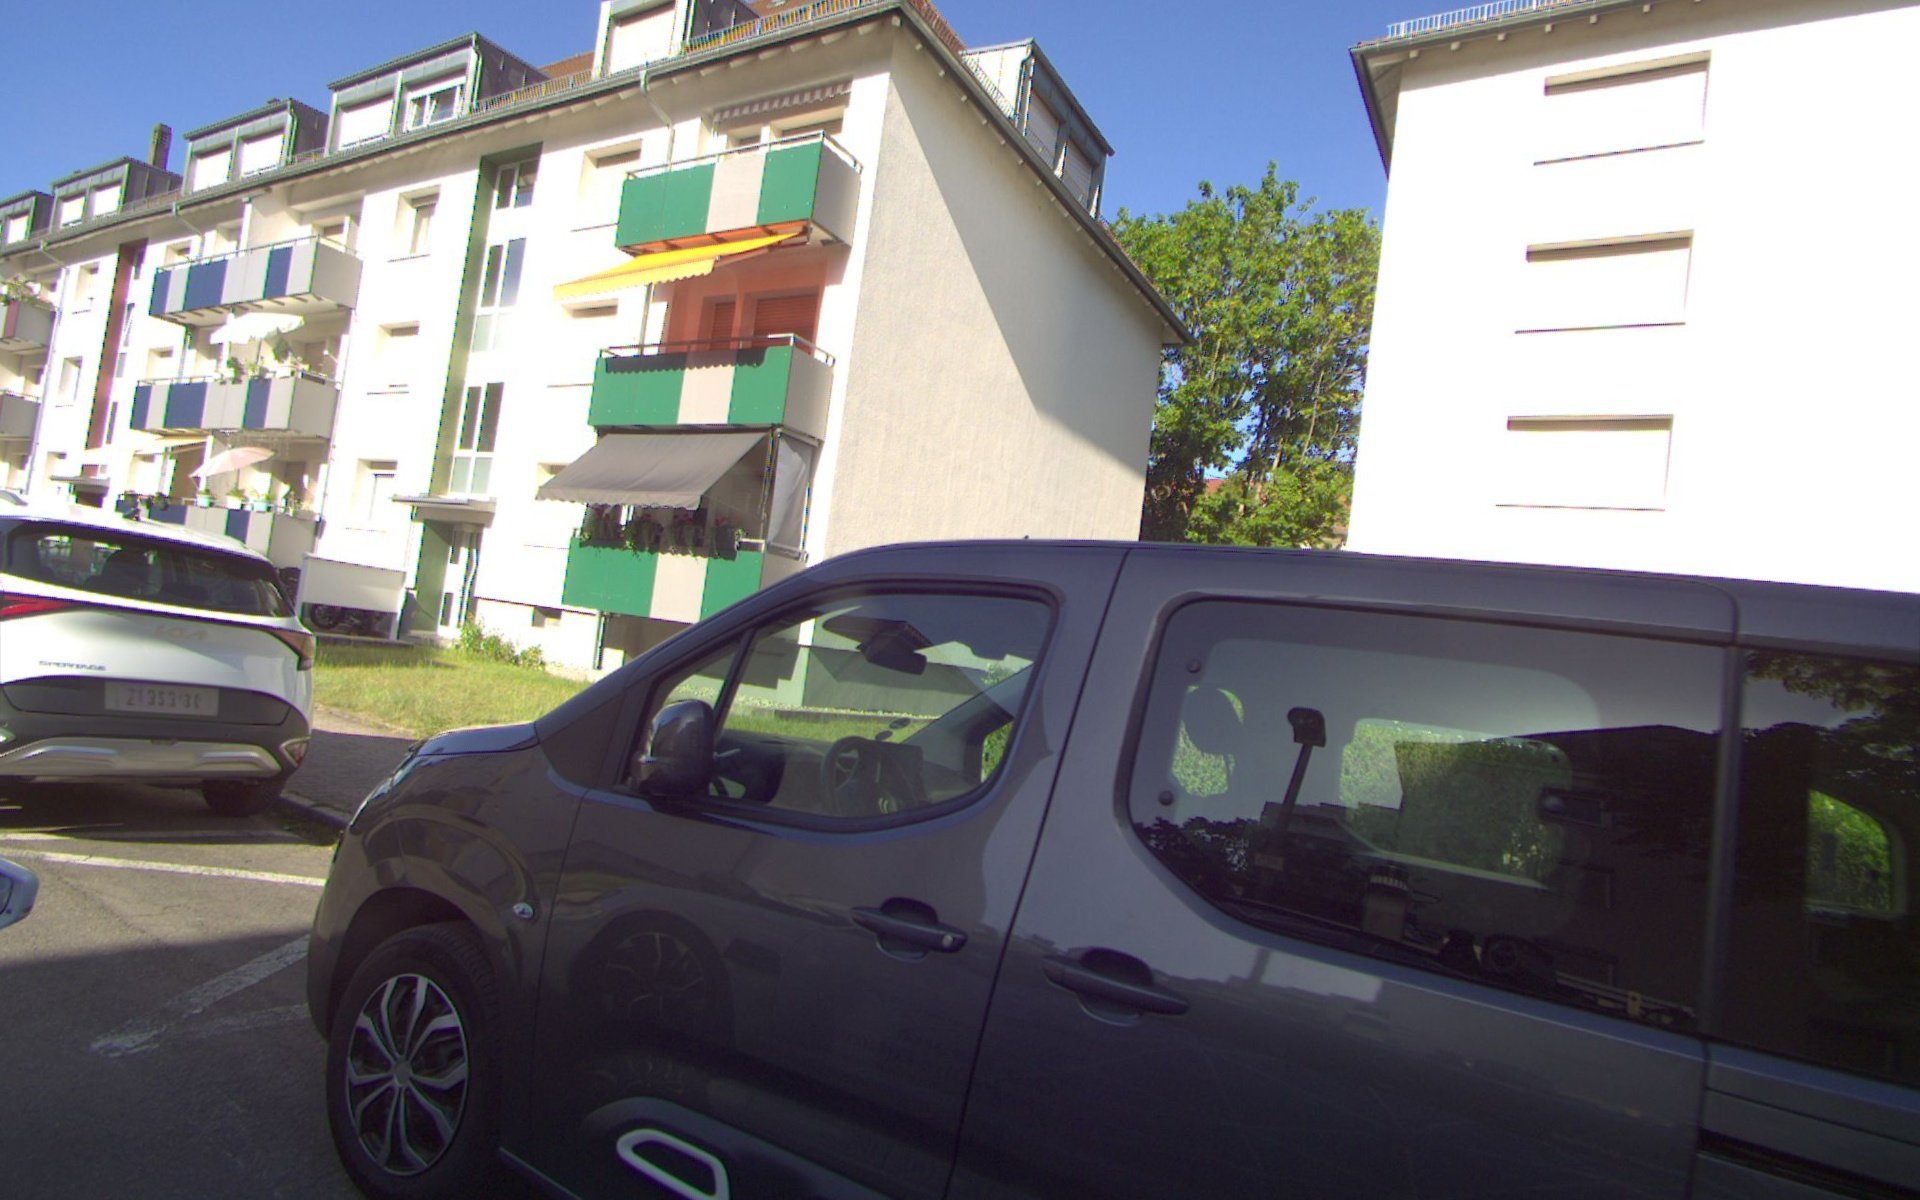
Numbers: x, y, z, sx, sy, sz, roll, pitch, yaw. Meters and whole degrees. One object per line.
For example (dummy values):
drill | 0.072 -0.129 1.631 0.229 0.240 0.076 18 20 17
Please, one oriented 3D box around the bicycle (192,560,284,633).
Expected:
bicycle | -12.700 -0.072 17.679 1.834 1.065 0.515 6 -3 32

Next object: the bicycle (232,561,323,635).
bicycle | -12.388 -0.044 18.248 1.799 1.116 0.560 6 -3 32

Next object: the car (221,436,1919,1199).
car | 0.381 0.717 2.424 4.224 1.749 1.868 6 -4 32

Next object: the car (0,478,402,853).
car | -5.537 0.197 5.938 4.055 1.609 1.989 6 -4 31

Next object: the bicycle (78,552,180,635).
bicycle | -13.271 -0.113 16.052 1.869 1.105 0.560 6 -3 32
